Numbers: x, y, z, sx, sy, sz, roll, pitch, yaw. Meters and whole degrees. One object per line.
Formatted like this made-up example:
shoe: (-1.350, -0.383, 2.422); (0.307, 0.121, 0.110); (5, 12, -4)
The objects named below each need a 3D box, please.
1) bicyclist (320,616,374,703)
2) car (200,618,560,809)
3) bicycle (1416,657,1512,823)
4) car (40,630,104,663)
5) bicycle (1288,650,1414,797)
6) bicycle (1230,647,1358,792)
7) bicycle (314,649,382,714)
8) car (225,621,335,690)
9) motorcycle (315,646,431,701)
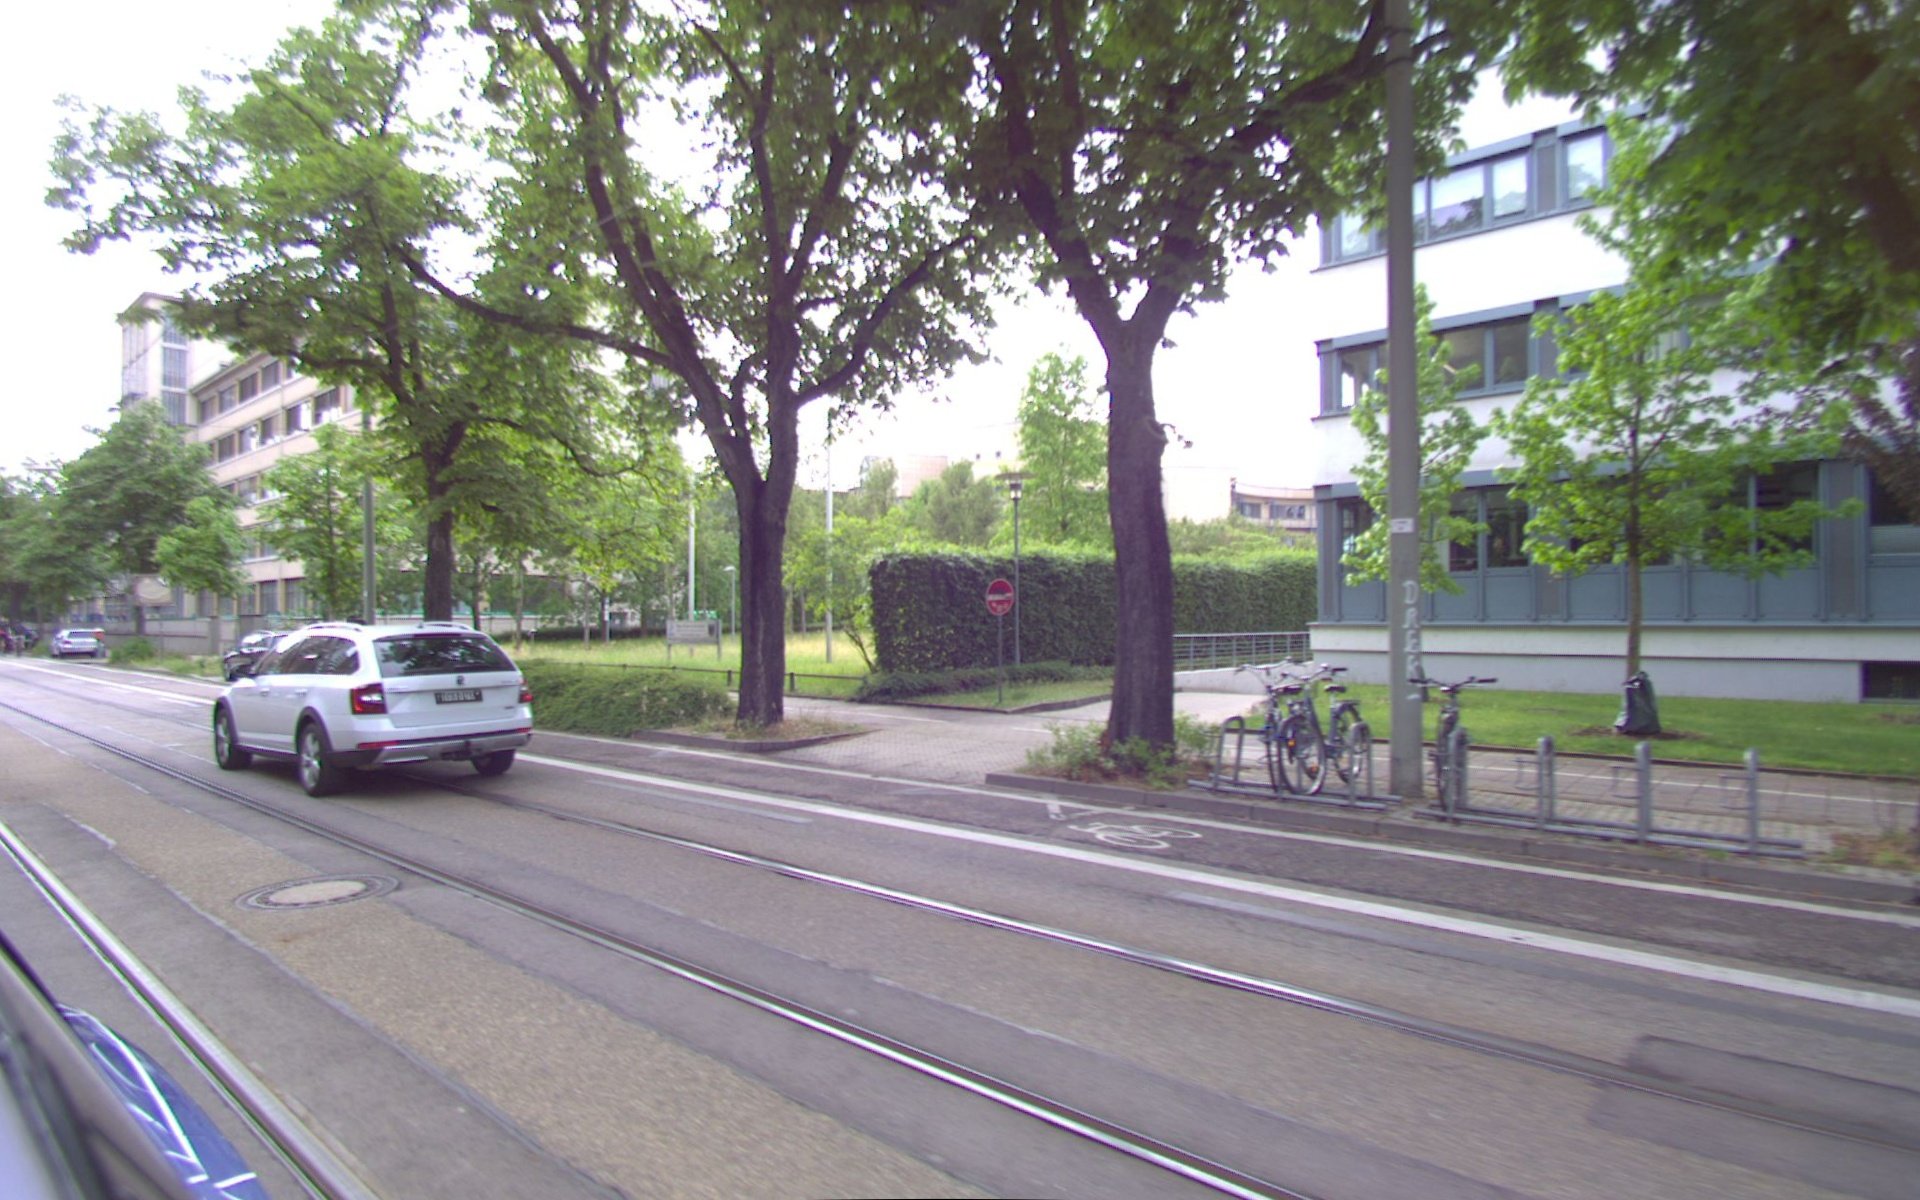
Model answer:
bicyclist: (-11.355, 1.074, 18.737); (0.628, 1.549, 0.955); (-1, 0, -45)
car: (-5.879, 0.946, 10.046); (4.257, 1.510, 1.723); (-1, -2, 40)
bicycle: (4.039, 1.051, 8.079); (0.614, 1.100, 1.460); (-1, 0, 28)
car: (-43.240, 2.229, 49.268); (3.949, 1.444, 1.825); (-1, 0, 41)
bicycle: (3.499, 1.038, 8.990); (0.617, 1.149, 1.454); (-1, -2, 40)
bicycle: (3.088, 1.043, 9.287); (0.617, 1.149, 1.454); (-1, 0, 40)
bicycle: (-11.342, 1.479, 18.729); (0.628, 1.058, 1.994); (-1, 0, -45)
car: (-19.220, 1.498, 28.560); (4.001, 1.722, 1.791); (-1, 0, 44)
motorcycle: (-12.996, 1.615, 22.462); (2.100, 1.111, 0.776); (-1, 0, -8)
